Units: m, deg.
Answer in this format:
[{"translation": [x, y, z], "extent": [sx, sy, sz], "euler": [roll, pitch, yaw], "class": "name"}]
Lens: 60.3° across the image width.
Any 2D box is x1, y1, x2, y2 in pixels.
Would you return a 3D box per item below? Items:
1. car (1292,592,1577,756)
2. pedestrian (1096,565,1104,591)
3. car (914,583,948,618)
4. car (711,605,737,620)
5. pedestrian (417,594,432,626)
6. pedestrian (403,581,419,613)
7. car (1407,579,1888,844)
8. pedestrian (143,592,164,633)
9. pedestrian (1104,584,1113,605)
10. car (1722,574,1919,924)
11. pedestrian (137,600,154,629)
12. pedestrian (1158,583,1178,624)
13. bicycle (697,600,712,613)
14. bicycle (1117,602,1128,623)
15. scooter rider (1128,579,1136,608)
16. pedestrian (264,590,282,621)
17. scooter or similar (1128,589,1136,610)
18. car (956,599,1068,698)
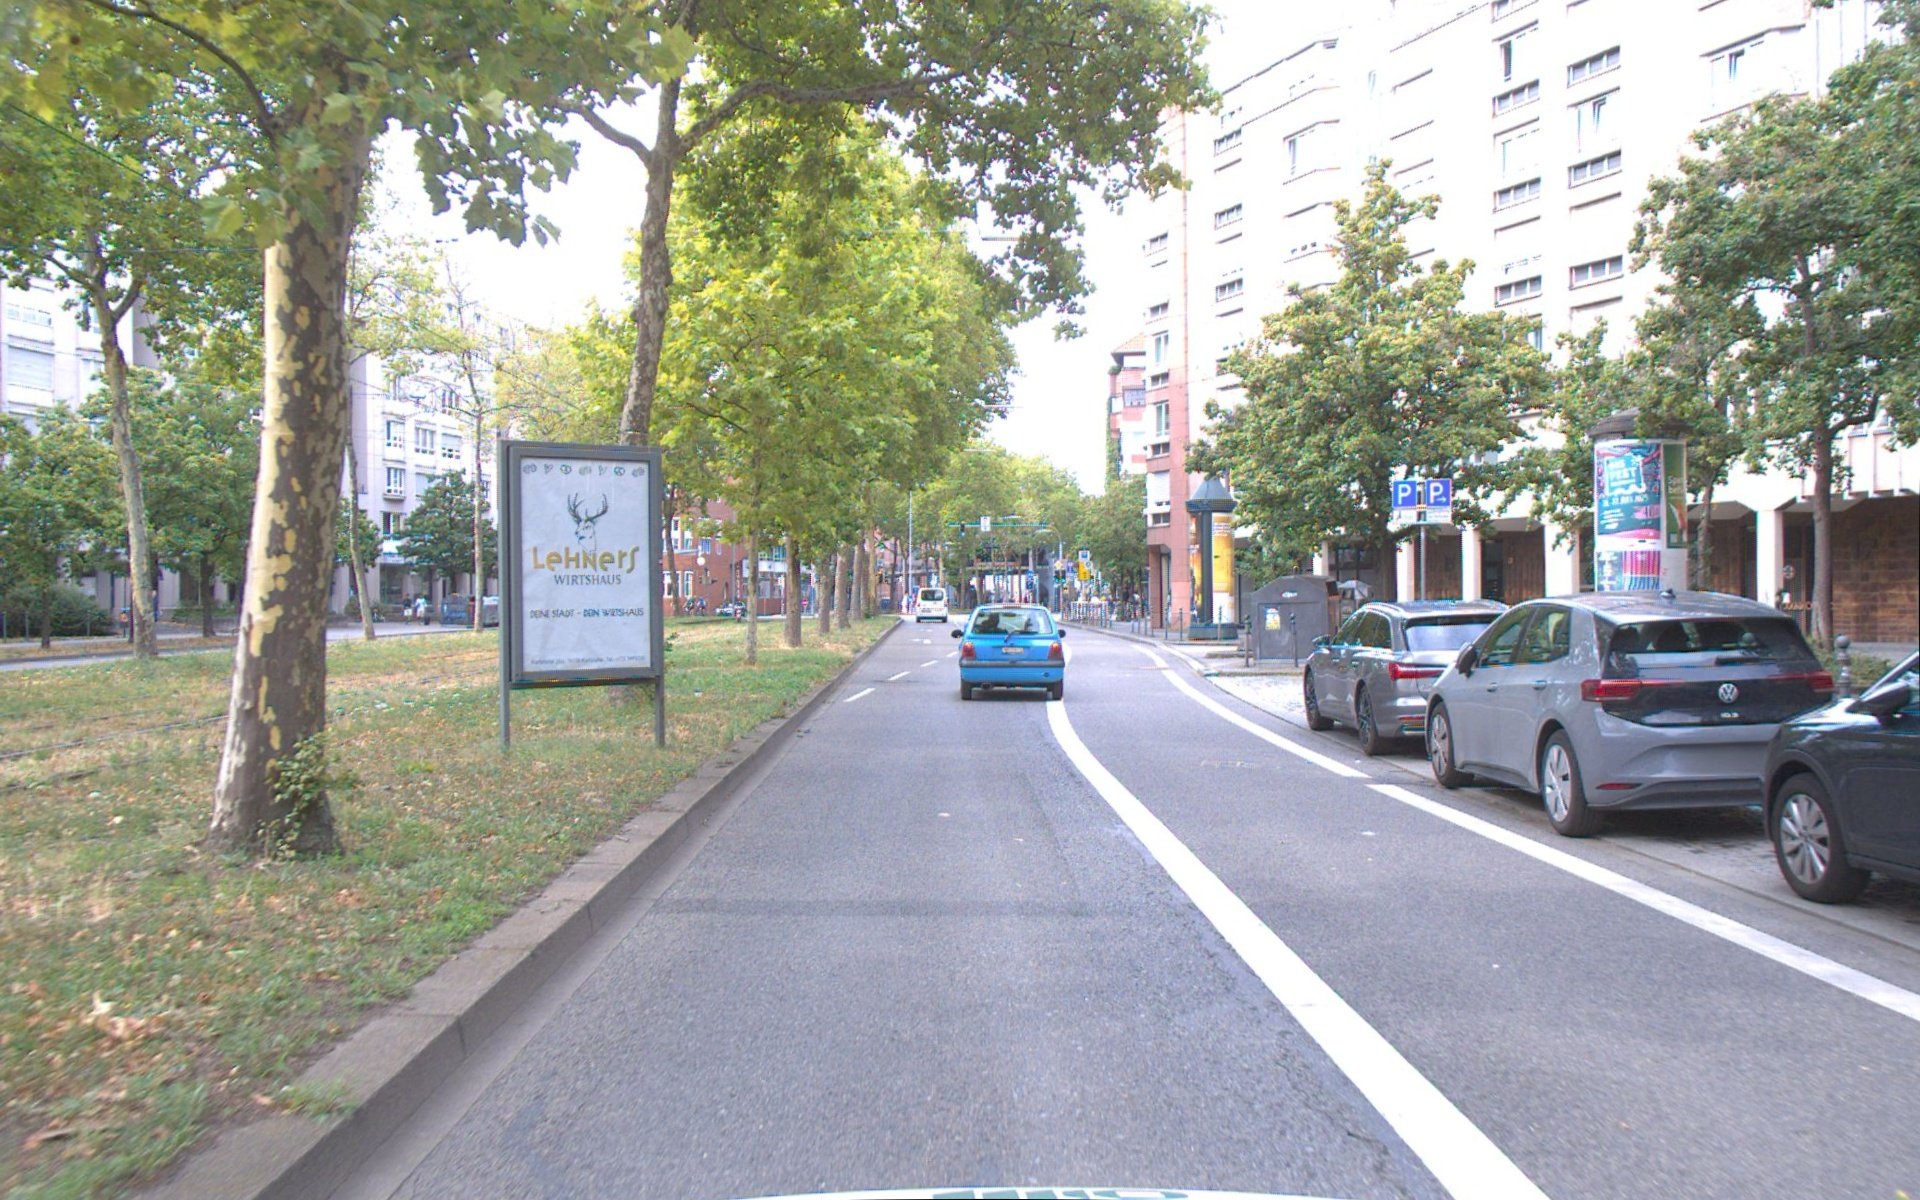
[{"translation": [4.853, 0.678, 17.620], "extent": [1.779, 1.468, 4.667], "euler": [-2, 0, 2], "class": "car"}, {"translation": [9.181, -1.428, 108.122], "extent": [0.506, 1.644, 0.851], "euler": [0, 0, 4], "class": "pedestrian"}, {"translation": [-1.659, 0.001, 96.363], "extent": [1.892, 1.959, 4.955], "euler": [-1, 0, -1], "class": "car"}, {"translation": [-20.761, 1.116, 145.701], "extent": [1.694, 1.267, 4.533], "euler": [0, 0, -1], "class": "car"}, {"translation": [-29.240, 0.532, 90.317], "extent": [0.541, 1.735, 0.626], "euler": [0, 0, 4], "class": "pedestrian"}, {"translation": [-29.914, -0.184, 90.171], "extent": [0.541, 1.735, 0.885], "euler": [0, 0, 4], "class": "pedestrian"}, {"translation": [4.752, 0.659, 12.204], "extent": [1.704, 1.545, 4.401], "euler": [-2, 0, 0], "class": "car"}, {"translation": [-34.319, 0.517, 70.394], "extent": [0.541, 1.735, 0.626], "euler": [0, 0, 4], "class": "pedestrian"}, {"translation": [11.269, -0.421, 125.518], "extent": [0.661, 1.565, 0.948], "euler": [0, 0, 7], "class": "pedestrian"}, {"translation": [5.138, 0.649, 7.069], "extent": [1.680, 1.545, 4.202], "euler": [-2, 0, -2], "class": "car"}, {"translation": [-37.491, 0.661, 76.120], "extent": [0.447, 1.346, 0.555], "euler": [0, 0, 10], "class": "pedestrian"}, {"translation": [8.708, 0.143, 69.208], "extent": [0.533, 1.679, 0.823], "euler": [-1, 0, 31], "class": "pedestrian"}, {"translation": [-22.869, 0.582, 148.152], "extent": [0.676, 1.111, 1.879], "euler": [0, 0, 12], "class": "bicycle"}, {"translation": [8.974, 0.662, 91.331], "extent": [0.599, 1.137, 1.806], "euler": [0, 0, 7], "class": "bicycle"}, {"translation": [10.348, -0.403, 99.632], "extent": [0.453, 1.750, 0.553], "euler": [0, 0, 5], "class": "scooter rider"}, {"translation": [-37.721, 0.295, 90.829], "extent": [0.623, 1.701, 0.660], "euler": [0, 0, 8], "class": "pedestrian"}, {"translation": [10.331, -0.016, 99.349], "extent": [0.463, 1.227, 1.331], "euler": [0, 0, 5], "class": "scooter or similar"}, {"translation": [0.750, 0.700, 25.764], "extent": [1.607, 1.410, 3.843], "euler": [0, 0, 0], "class": "car"}]
